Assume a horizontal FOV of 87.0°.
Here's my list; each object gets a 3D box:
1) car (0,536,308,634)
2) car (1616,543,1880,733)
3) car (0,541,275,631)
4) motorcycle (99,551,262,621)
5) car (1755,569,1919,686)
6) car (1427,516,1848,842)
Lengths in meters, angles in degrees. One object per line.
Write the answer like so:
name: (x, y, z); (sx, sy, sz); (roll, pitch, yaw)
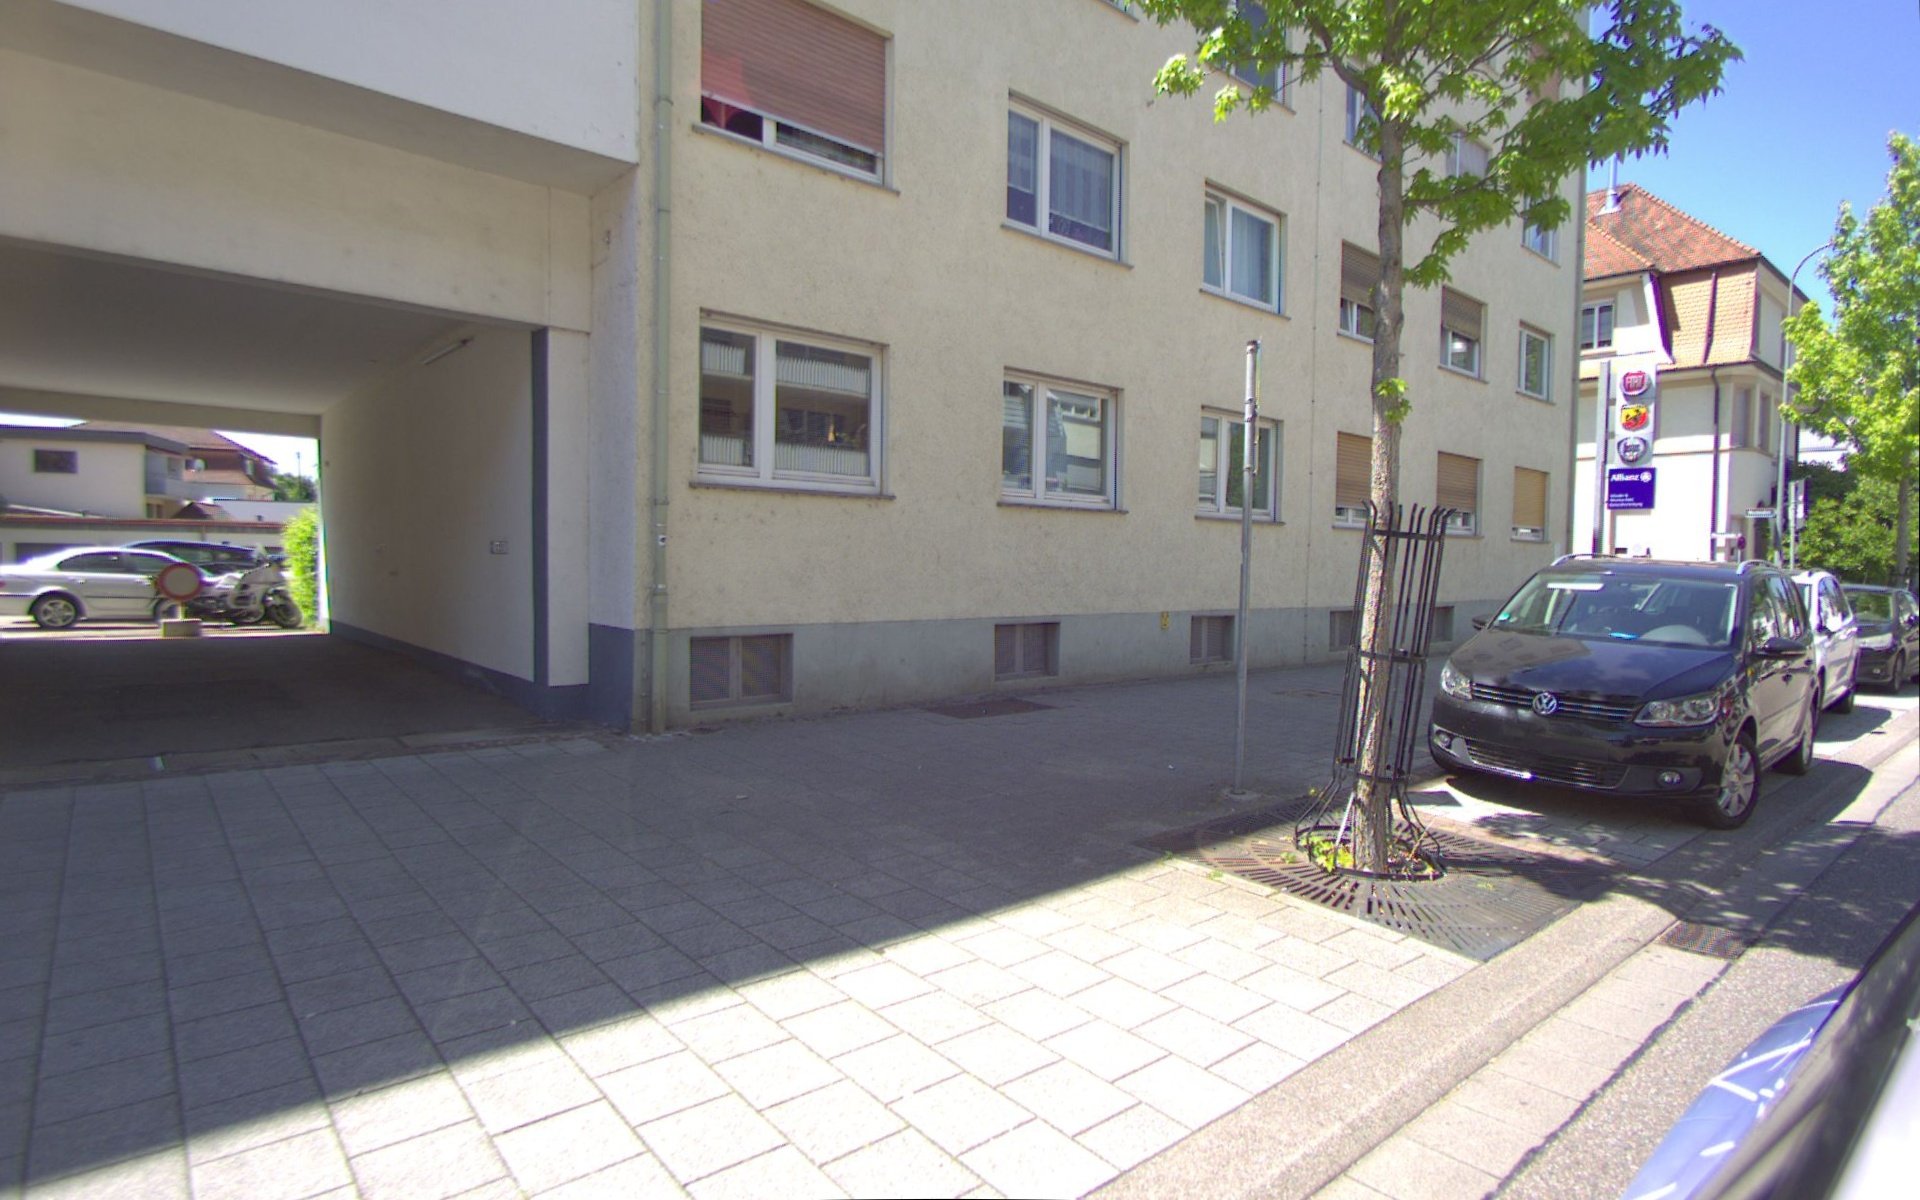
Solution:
car: (-13.496, -0.275, 17.160); (3.930, 1.471, 1.732); (-1, 2, -41)
car: (8.881, 0.301, 11.281); (4.065, 1.743, 1.690); (-1, 2, -43)
car: (-14.952, -0.277, 18.449); (3.930, 1.471, 1.732); (-1, 2, -41)
motorcycle: (-15.739, -0.295, 20.467); (2.558, 1.308, 1.308); (0, 2, -41)
car: (13.541, 0.328, 15.217); (4.061, 1.506, 1.692); (0, 2, -40)
car: (5.150, 0.368, 7.472); (3.934, 1.742, 1.691); (-1, 5, -44)
